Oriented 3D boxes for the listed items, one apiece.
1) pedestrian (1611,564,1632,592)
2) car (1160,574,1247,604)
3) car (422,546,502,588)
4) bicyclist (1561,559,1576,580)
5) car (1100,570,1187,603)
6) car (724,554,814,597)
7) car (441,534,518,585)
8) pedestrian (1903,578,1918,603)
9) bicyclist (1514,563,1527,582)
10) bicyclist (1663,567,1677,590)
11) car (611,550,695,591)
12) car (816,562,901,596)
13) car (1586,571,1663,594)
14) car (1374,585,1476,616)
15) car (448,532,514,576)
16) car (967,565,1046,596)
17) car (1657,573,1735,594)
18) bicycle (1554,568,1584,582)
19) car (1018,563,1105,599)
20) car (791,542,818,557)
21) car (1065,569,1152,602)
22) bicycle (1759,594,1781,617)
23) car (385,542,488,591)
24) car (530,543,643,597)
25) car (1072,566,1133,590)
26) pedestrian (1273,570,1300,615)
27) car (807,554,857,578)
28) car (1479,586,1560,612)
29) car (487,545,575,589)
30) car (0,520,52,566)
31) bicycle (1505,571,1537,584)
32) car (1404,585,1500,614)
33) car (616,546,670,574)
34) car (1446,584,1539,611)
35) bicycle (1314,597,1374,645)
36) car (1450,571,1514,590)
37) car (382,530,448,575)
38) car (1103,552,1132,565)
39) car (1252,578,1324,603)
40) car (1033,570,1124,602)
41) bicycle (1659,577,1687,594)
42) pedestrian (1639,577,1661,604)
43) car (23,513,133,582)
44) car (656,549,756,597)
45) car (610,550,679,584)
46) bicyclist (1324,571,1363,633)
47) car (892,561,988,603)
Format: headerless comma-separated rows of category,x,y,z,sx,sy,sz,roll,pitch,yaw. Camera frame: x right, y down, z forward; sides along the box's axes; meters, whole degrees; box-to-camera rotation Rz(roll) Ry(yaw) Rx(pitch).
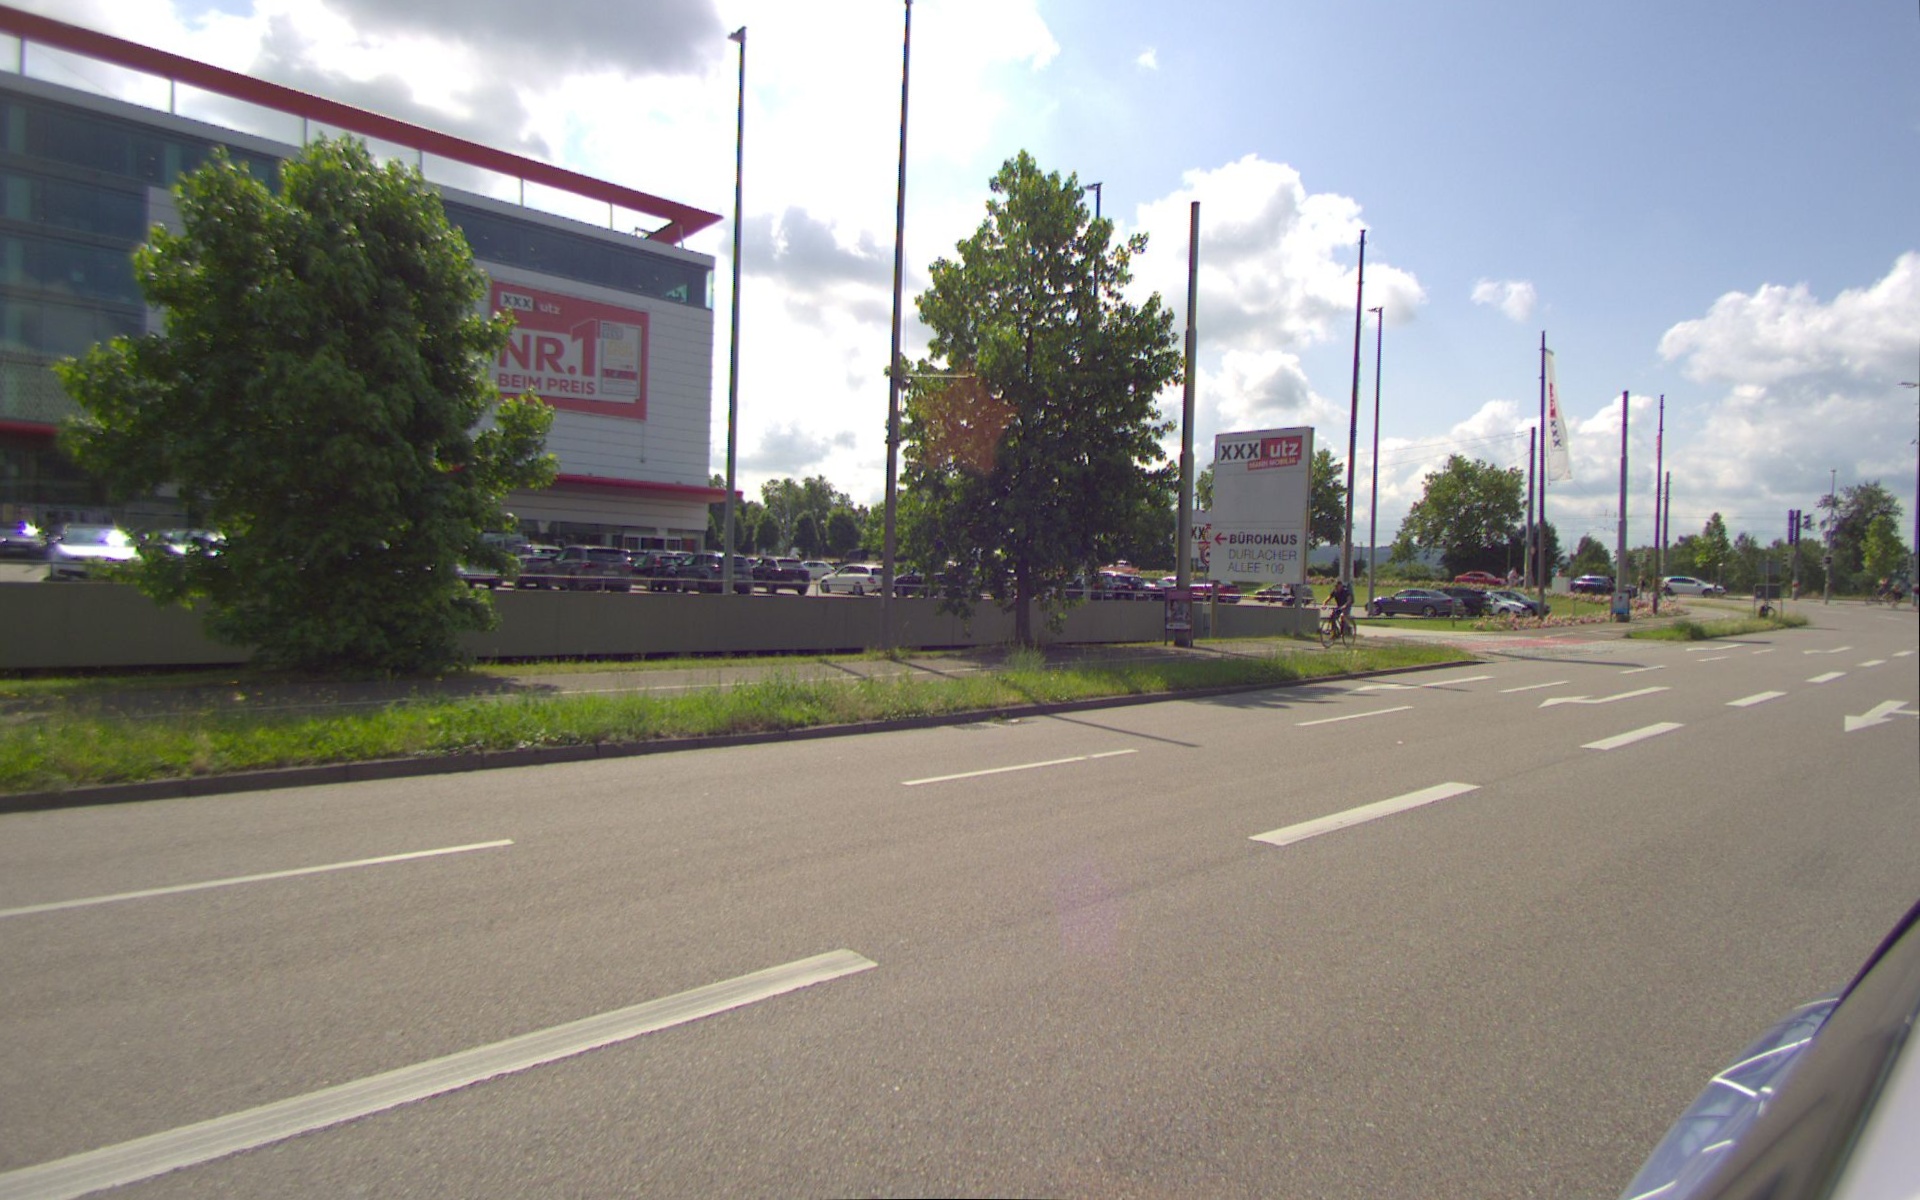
pedestrian,43.750,-1.431,66.924,0.744,1.825,0.824,0,1,-14
car,13.245,-0.615,55.276,1.813,1.379,4.370,2,2,-39
car,-17.462,-1.130,35.434,1.587,1.405,3.771,-1,1,-42
bicyclist,43.458,-2.166,72.278,0.639,1.494,0.742,1,0,-40
car,9.414,-0.714,52.230,1.652,1.527,4.370,0,3,-39
car,-8.286,-1.069,43.668,1.783,1.640,4.367,2,2,-42
car,-20.352,-1.665,42.792,1.965,2.039,3.995,1,0,-40
pedestrian,58.539,-0.569,62.300,0.460,1.543,0.586,0,0,-32
bicyclist,41.698,-2.054,75.298,0.582,1.342,0.687,1,0,-37
bicyclist,48.231,-1.458,68.751,0.692,1.555,0.613,1,0,33
car,-12.411,-1.201,40.813,1.698,1.482,3.994,1,2,-42
car,-4.754,-0.983,46.986,1.728,1.445,4.298,2,0,-40
car,47.664,-1.271,72.683,1.877,1.501,4.211,0,3,-24
car,23.471,-0.018,51.205,1.823,1.495,4.369,0,1,-39
car,-24.030,-2.249,50.694,1.965,2.039,3.994,1,0,-41
car,2.407,-1.025,53.223,1.793,1.527,4.157,1,0,-40
car,56.009,-1.286,77.042,1.981,1.430,4.487,0,2,-43
bicycle,43.480,-1.775,72.249,0.654,0.973,1.694,1,0,-40
car,4.728,-0.913,47.546,1.666,1.607,4.021,2,1,-42
car,-30.055,-9.762,195.384,5.569,2.522,1.930,5,2,41
car,7.412,-0.746,50.793,1.597,1.460,4.370,2,2,-39
bicycle,35.713,0.243,44.606,1.517,0.964,0.518,-1,1,-42
car,-15.937,-1.041,30.704,1.734,1.341,4.366,1,2,-42
car,-12.322,-1.017,33.211,1.995,1.593,4.366,1,2,-42
car,10.433,-1.618,74.435,1.821,1.607,4.232,1,2,-42
pedestrian,13.139,-0.297,40.737,0.856,1.805,0.783,1,0,4
car,-9.839,-2.578,77.644,1.964,1.761,3.997,1,0,-39
car,33.912,-0.071,61.437,1.687,1.435,3.993,-1,2,-42
car,-15.846,-1.185,37.267,1.730,1.482,4.246,1,0,-42
car,-36.650,-2.201,39.368,1.771,1.638,3.995,1,0,-40
bicycle,41.707,-1.666,75.279,0.586,0.973,1.987,1,0,-37
car,26.656,-0.044,54.931,1.824,1.434,4.368,0,2,-40
car,-21.030,-2.605,67.079,1.966,1.745,3.993,1,0,-42
car,30.542,-0.171,58.149,1.765,1.457,4.368,0,2,-40
bicycle,9.139,0.484,24.051,0.623,1.081,1.937,3,2,43
car,42.189,-1.578,81.808,1.721,1.377,4.239,-2,4,-45
car,-26.271,-2.253,48.748,1.965,2.039,3.994,1,0,-41
car,21.245,-5.625,136.731,3.476,1.474,1.677,-2,1,41
car,22.922,-0.682,70.766,2.012,1.426,4.371,1,3,-39
car,5.733,-0.708,49.381,1.813,1.379,4.370,0,3,-39
bicycle,48.371,-0.991,68.644,1.494,1.180,0.613,1,0,34
pedestrian,46.040,-0.667,67.520,0.848,1.787,0.864,0,0,-14
car,-22.330,-1.271,25.599,1.966,1.590,3.992,-1,2,-43
car,-9.289,-0.990,36.805,1.734,1.571,4.190,1,2,-42
car,-16.643,-1.766,53.224,1.821,1.607,4.232,1,2,-42
bicyclist,9.106,0.041,24.003,0.615,1.430,0.704,2,1,43
car,-0.871,-0.795,42.555,1.713,1.550,4.058,-1,4,-44
